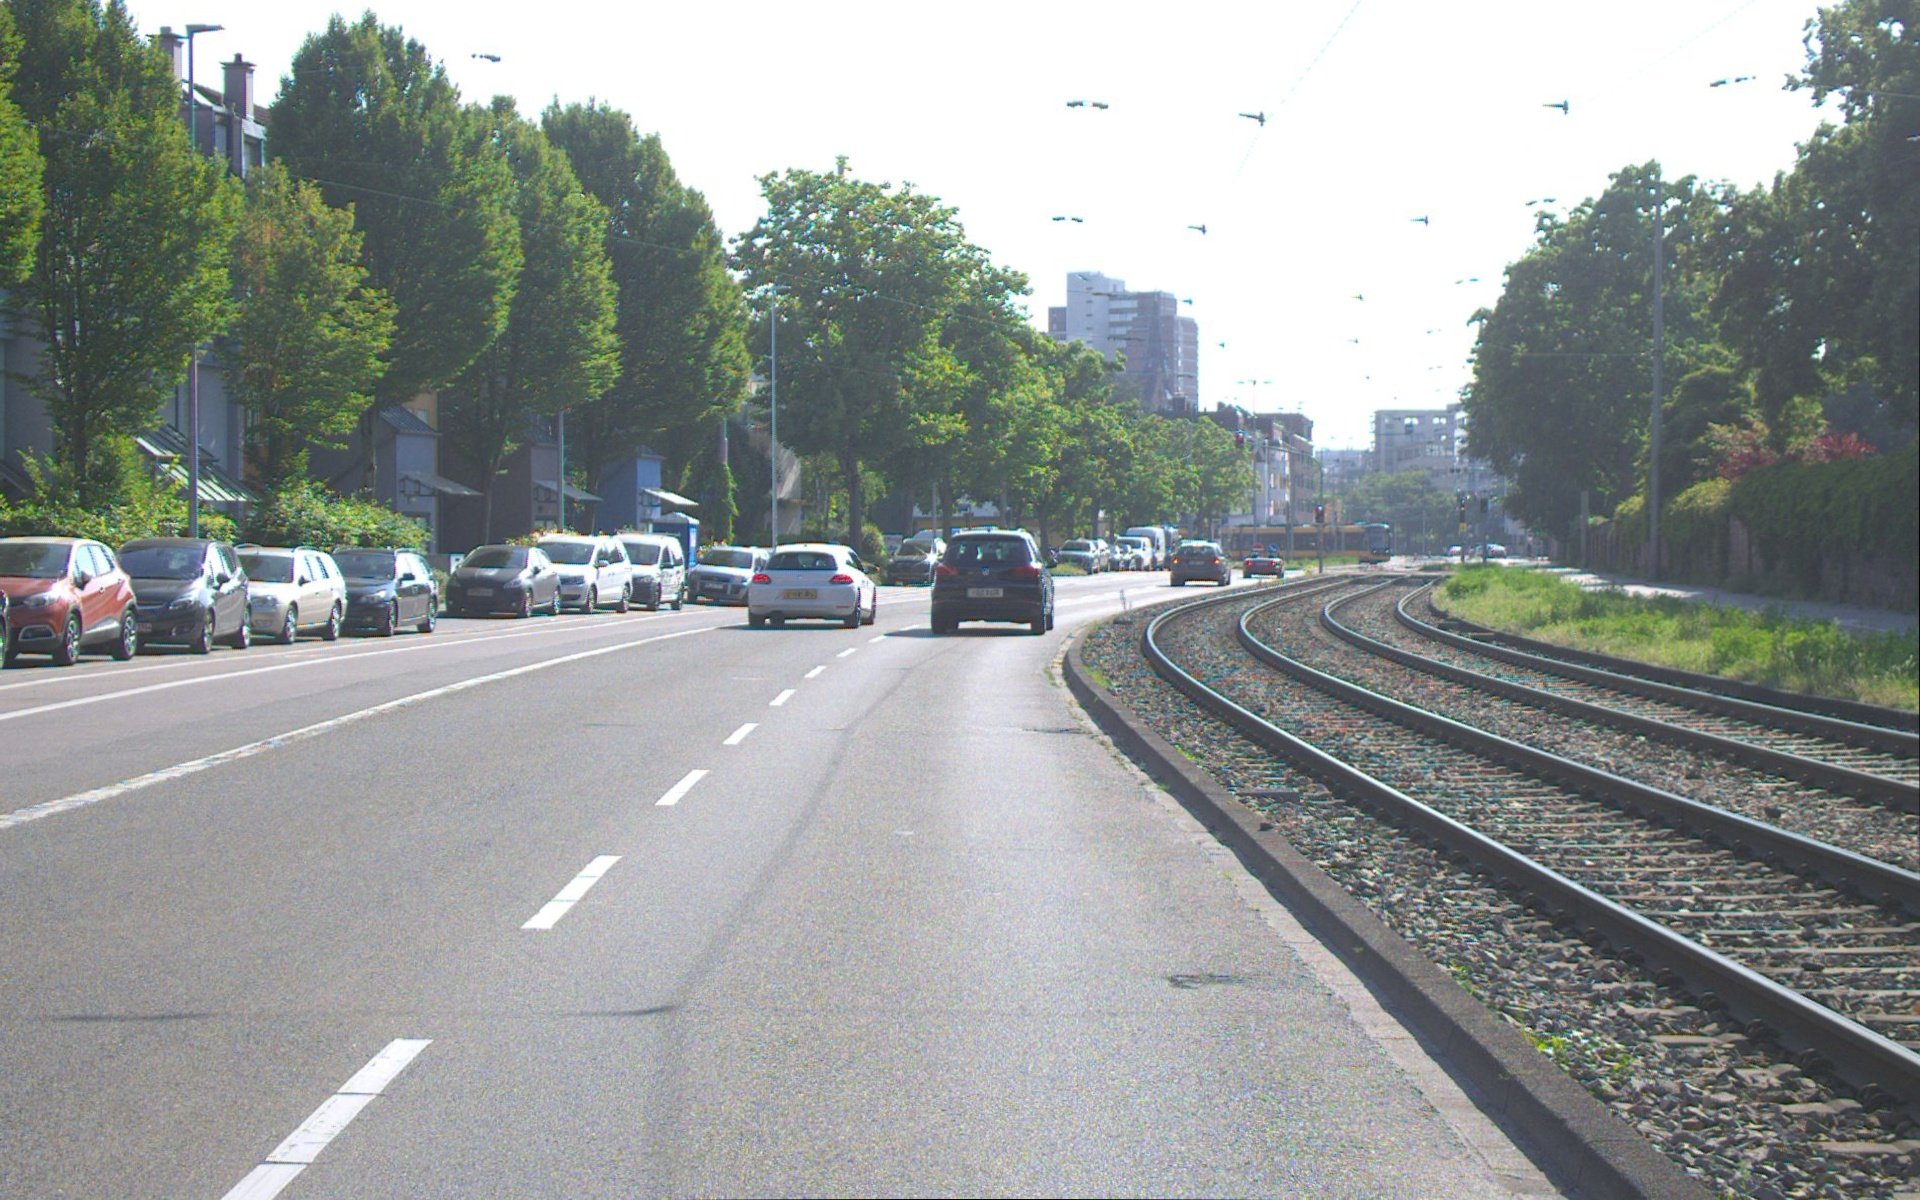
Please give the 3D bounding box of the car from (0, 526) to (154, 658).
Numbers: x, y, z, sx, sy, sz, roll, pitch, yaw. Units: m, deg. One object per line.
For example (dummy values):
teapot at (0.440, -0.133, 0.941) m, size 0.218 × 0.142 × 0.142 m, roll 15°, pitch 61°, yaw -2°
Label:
car at (-11.532, -0.115, 43.067) m, size 1.762 × 1.568 × 4.162 m, roll 0°, pitch 1°, yaw 2°

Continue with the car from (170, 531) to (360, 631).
car at (-10.914, -0.303, 54.305) m, size 1.712 × 1.466 × 4.844 m, roll 2°, pitch 0°, yaw 3°

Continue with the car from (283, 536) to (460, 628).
car at (-10.234, -0.345, 60.149) m, size 1.710 × 1.467 × 4.909 m, roll 2°, pitch 1°, yaw 6°

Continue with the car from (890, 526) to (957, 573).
car at (-1.303, -1.846, 124.244) m, size 1.712 × 1.688 × 4.421 m, roll 0°, pitch 1°, yaw 9°

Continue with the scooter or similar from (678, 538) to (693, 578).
scooter or similar at (-8.000, -1.228, 100.176) m, size 0.294 × 1.149 × 1.043 m, roll 0°, pitch 1°, yaw 4°

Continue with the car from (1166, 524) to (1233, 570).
car at (7.995, -1.769, 114.545) m, size 1.812 × 1.444 × 3.999 m, roll 2°, pitch 1°, yaw 9°

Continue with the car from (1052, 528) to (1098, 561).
car at (5.796, -2.784, 172.345) m, size 1.732 × 1.652 × 3.998 m, roll 0°, pitch 1°, yaw 10°

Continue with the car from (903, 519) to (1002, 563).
car at (-0.407, -3.377, 196.725) m, size 5.377 × 2.415 × 2.087 m, roll 0°, pitch 1°, yaw 9°

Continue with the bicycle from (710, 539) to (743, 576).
bicycle at (-7.267, -1.322, 107.020) m, size 0.443 × 1.150 × 1.783 m, roll 0°, pitch 0°, yaw 15°

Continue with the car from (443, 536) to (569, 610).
car at (-9.383, -0.583, 71.326) m, size 1.616 × 1.461 × 4.057 m, roll 2°, pitch 1°, yaw 6°

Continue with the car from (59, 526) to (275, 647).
car at (-11.208, -0.215, 48.885) m, size 1.763 × 1.568 × 4.298 m, roll 2°, pitch 1°, yaw 4°

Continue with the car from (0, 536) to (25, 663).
car at (-11.687, 0.031, 37.371) m, size 1.652 × 1.419 × 4.713 m, roll 0°, pitch 1°, yaw 2°

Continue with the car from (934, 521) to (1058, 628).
car at (0.617, -0.428, 55.209) m, size 1.811 × 1.639 × 4.000 m, roll 1°, pitch 1°, yaw 3°

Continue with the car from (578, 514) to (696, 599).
car at (-7.751, -1.066, 82.963) m, size 1.763 × 1.839 × 4.579 m, roll 5°, pitch 2°, yaw 7°

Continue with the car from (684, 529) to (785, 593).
car at (-6.047, -1.060, 92.652) m, size 1.763 × 1.533 × 3.980 m, roll 5°, pitch 2°, yaw 9°

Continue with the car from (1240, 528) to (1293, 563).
car at (13.045, -2.329, 146.150) m, size 1.812 × 1.444 × 3.998 m, roll 2°, pitch 1°, yaw 11°

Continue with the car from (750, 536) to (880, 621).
car at (-2.383, -0.388, 57.397) m, size 1.865 × 1.343 × 4.000 m, roll 0°, pitch 1°, yaw 2°

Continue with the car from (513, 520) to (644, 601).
car at (-8.477, -0.905, 76.781) m, size 1.669 × 1.695 × 4.822 m, roll 2°, pitch 1°, yaw 9°
